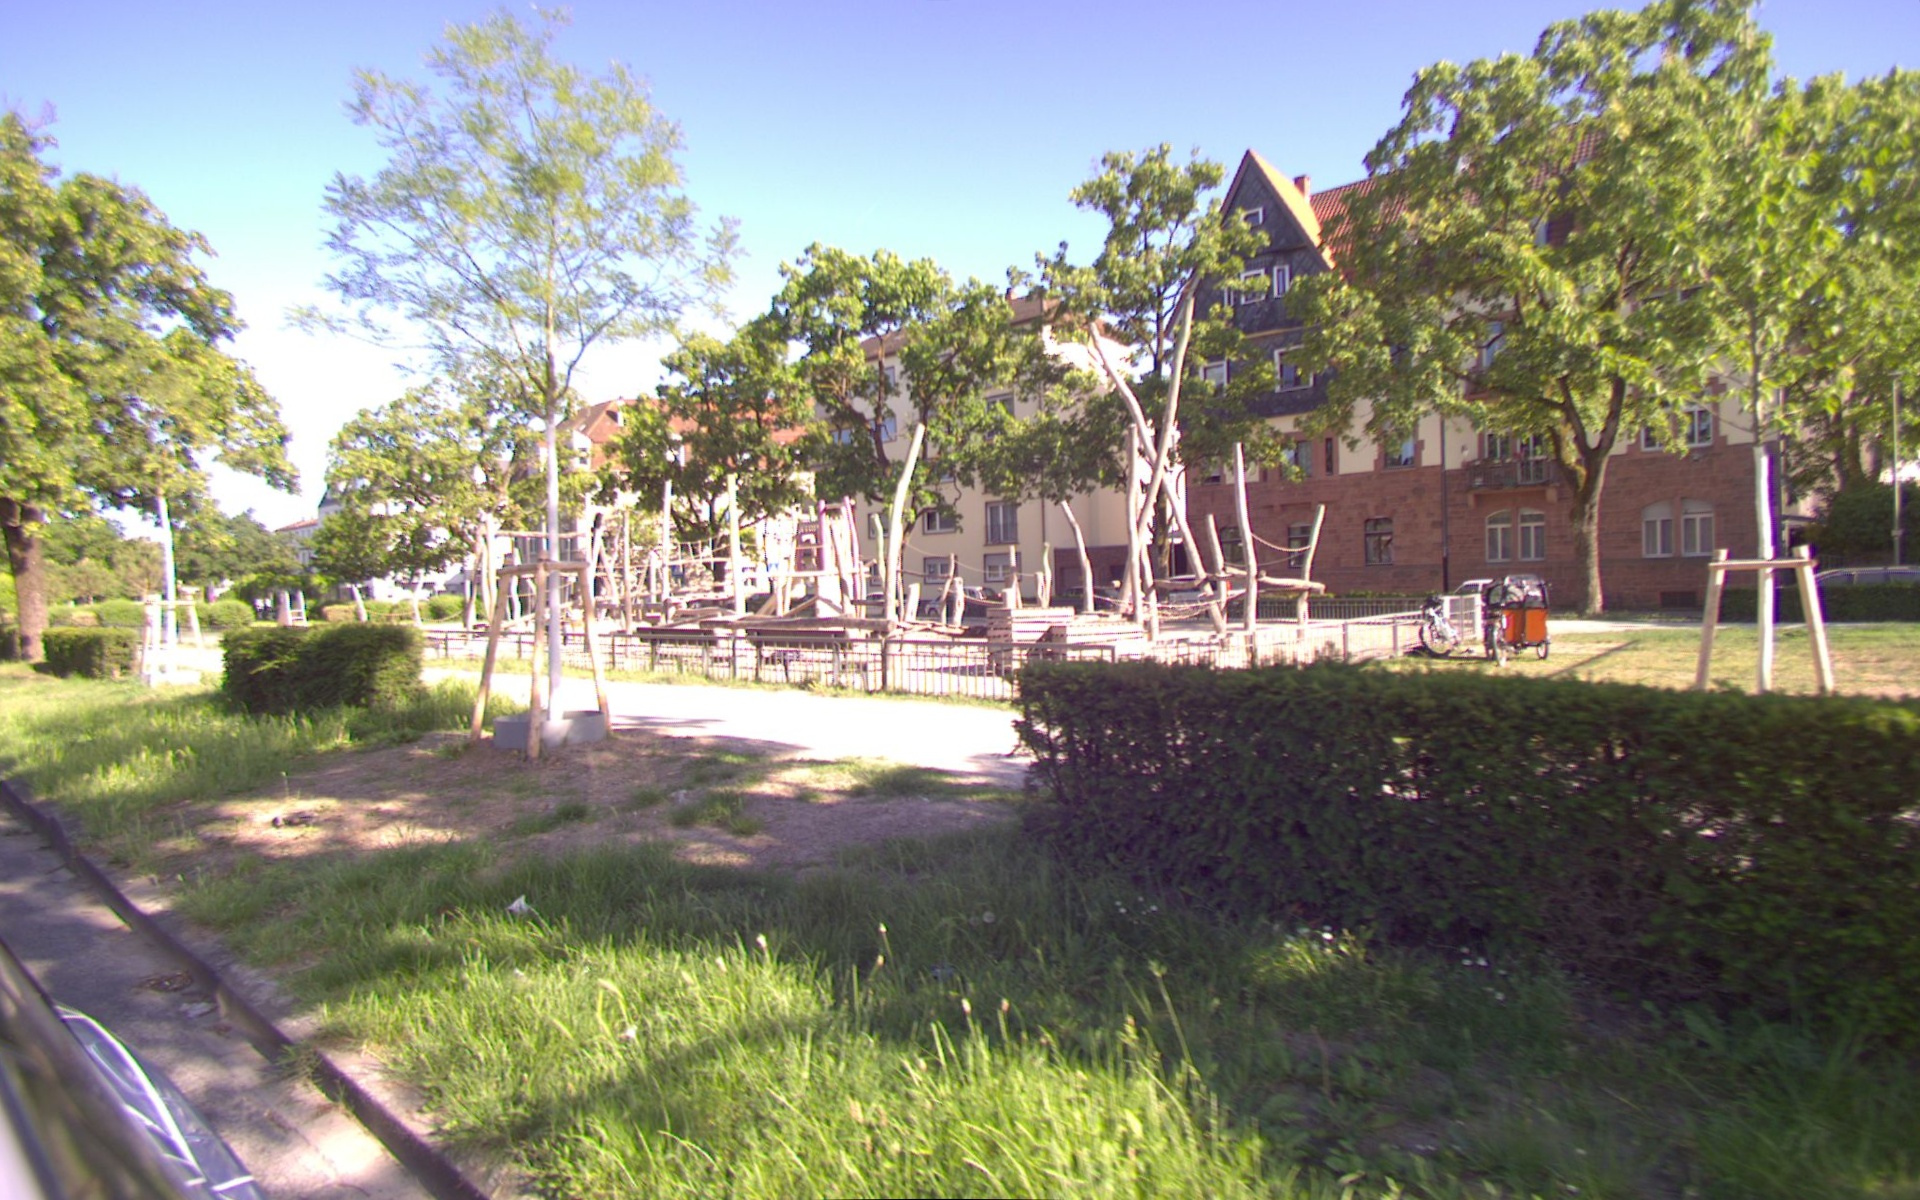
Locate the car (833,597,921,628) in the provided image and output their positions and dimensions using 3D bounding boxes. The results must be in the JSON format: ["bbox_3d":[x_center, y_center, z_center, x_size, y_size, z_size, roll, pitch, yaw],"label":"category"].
[{"bbox_3d":[-4.535,0.683,54.646,4.760,1.521,1.887,-1,1,40],"label":"car"}]

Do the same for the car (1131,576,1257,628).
[{"bbox_3d":[9.664,0.112,42.070,4.833,1.997,1.776,-1,1,41],"label":"car"}]

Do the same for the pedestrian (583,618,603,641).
[{"bbox_3d":[-16.170,1.290,44.613,0.535,0.986,0.779,-2,1,-41],"label":"pedestrian"}]

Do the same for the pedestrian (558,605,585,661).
[{"bbox_3d":[-11.936,0.992,31.083,0.639,1.674,0.652,-2,1,-31],"label":"pedestrian"}]

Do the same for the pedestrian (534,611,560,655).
[{"bbox_3d":[-13.062,1.027,32.009,0.639,1.339,0.652,-2,1,-31],"label":"pedestrian"}]

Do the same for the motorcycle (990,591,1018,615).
[{"bbox_3d":[2.131,0.122,48.936,0.499,1.116,1.780,-1,1,33],"label":"motorcycle"}]

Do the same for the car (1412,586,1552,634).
[{"bbox_3d":[18.109,0.348,35.193,3.998,1.521,1.776,-1,1,41],"label":"car"}]

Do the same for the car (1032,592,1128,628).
[{"bbox_3d":[5.409,0.459,45.971,3.998,1.521,1.776,-1,1,41],"label":"car"}]

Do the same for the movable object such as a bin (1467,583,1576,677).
[{"bbox_3d":[8.158,0.396,14.656,1.054,1.251,2.309,-2,0,37],"label":"movable object such as a bin"}]

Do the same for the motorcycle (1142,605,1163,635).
[{"bbox_3d":[5.619,0.579,29.590,0.284,0.833,0.695,-2,1,39],"label":"motorcycle"}]

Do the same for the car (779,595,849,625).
[{"bbox_3d":[-8.405,0.575,57.996,3.998,1.566,1.776,-1,1,41],"label":"car"}]

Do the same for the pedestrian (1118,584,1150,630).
[{"bbox_3d":[5.128,0.197,29.842,0.649,1.328,0.642,-2,1,38],"label":"pedestrian"}]

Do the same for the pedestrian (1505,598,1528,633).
[{"bbox_3d":[13.056,0.366,23.746,0.359,0.810,0.478,-2,0,42],"label":"pedestrian"}]

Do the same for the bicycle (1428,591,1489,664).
[{"bbox_3d":[8.335,0.439,16.893,0.499,1.116,1.777,-2,1,39],"label":"bicycle"}]

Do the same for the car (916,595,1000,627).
[{"bbox_3d":[-0.127,0.567,51.118,3.998,1.521,1.776,-1,1,41],"label":"car"}]

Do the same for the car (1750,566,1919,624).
[{"bbox_3d":[25.208,-0.124,28.964,3.998,1.521,1.776,-1,1,41],"label":"car"}]
